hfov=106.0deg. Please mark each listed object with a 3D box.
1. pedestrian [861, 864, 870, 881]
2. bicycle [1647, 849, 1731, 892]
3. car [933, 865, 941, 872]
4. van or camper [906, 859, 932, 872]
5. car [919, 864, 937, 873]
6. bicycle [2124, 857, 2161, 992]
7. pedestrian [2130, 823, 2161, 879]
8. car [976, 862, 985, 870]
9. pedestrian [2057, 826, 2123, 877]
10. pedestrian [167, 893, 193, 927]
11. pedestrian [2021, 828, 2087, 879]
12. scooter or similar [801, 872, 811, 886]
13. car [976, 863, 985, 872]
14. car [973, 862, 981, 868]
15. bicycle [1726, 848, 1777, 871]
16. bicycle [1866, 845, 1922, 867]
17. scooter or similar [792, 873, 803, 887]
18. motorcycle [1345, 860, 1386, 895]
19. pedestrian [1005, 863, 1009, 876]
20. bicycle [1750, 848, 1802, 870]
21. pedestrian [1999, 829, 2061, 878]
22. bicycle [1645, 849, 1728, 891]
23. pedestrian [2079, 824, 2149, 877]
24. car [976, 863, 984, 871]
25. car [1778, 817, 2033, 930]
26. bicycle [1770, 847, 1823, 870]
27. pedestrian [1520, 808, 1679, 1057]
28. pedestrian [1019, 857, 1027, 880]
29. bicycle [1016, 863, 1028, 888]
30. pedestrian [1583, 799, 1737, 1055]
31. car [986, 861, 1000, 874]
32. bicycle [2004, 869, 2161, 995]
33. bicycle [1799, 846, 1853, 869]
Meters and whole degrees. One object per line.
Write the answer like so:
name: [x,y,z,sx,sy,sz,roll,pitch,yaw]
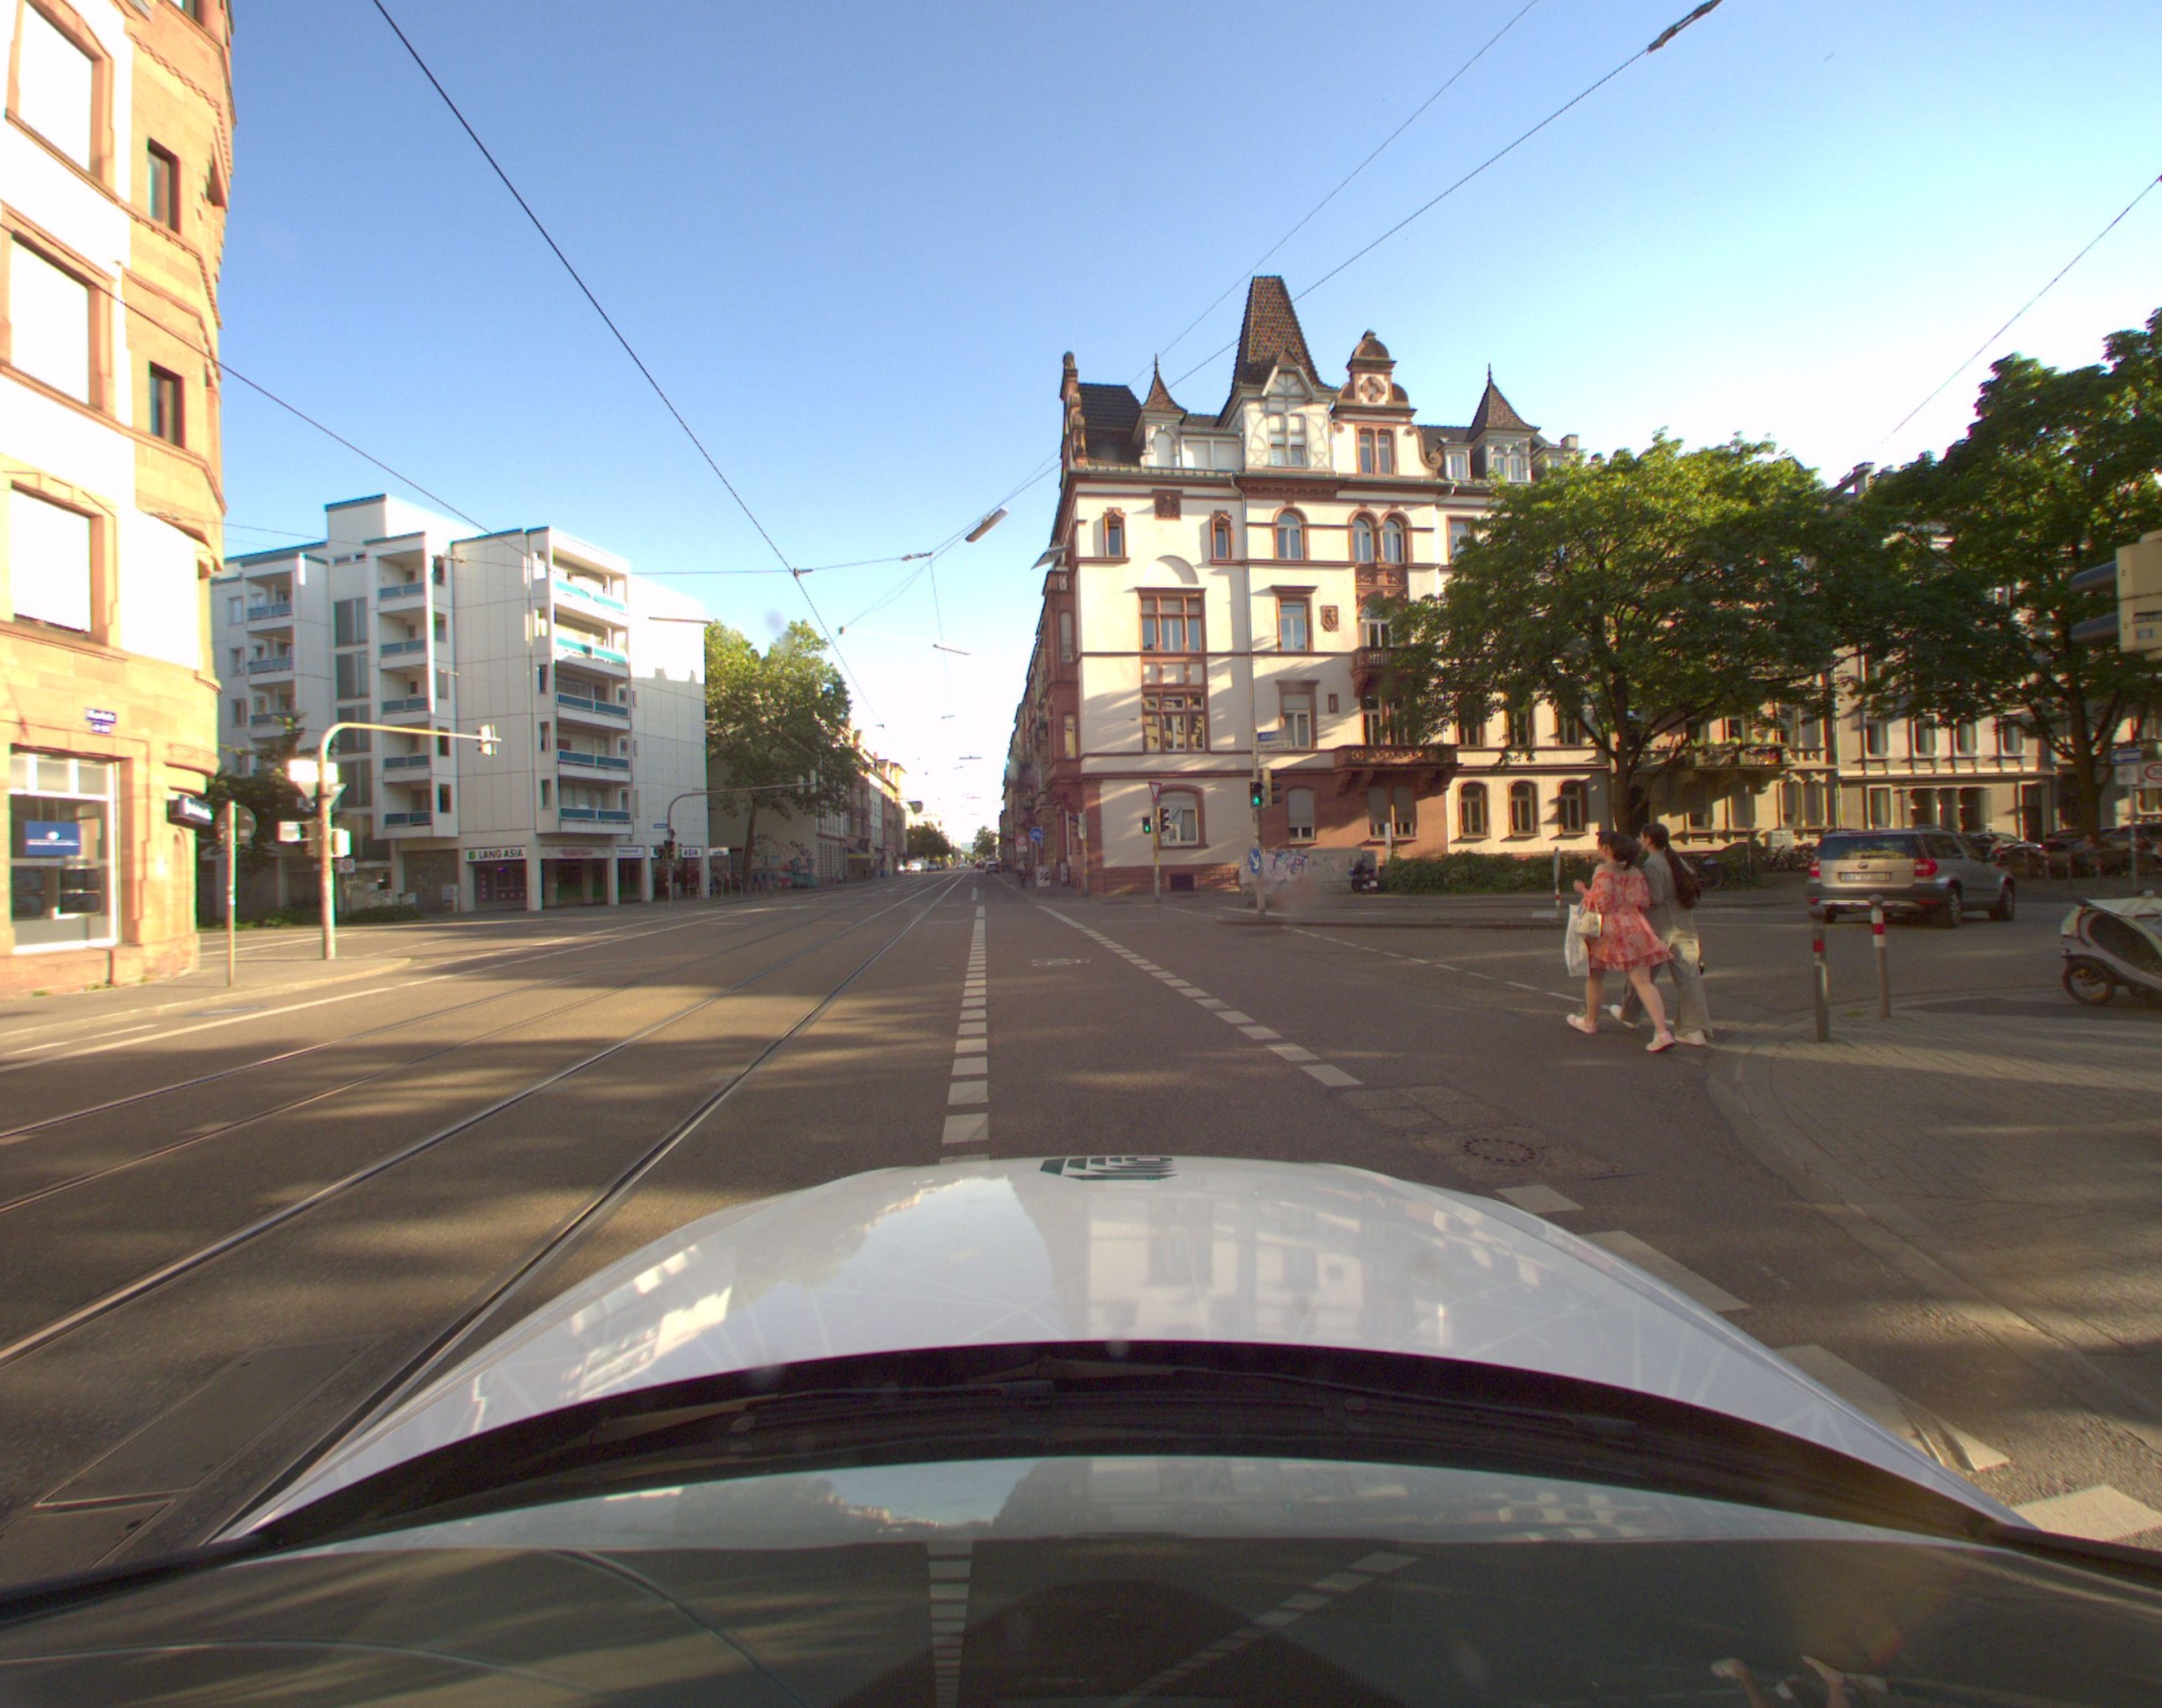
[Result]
pedestrian: [-22.263,1.876,84.089,0.700,1.728,0.646,-2,-1,-8]
bicycle: [17.207,0.473,23.095,1.841,1.161,0.563,-2,1,30]
car: [-39.726,3.960,224.314,1.992,2.014,3.989,-2,-1,-8]
van or camper: [-32.337,2.302,162.840,4.672,2.563,1.977,-1,-1,-38]
car: [-37.095,3.417,197.481,4.014,2.014,1.980,-2,-1,-32]
bicycle: [10.163,0.614,6.719,0.503,1.223,1.918,-2,-2,-3]
pedestrian: [28.869,-0.100,21.618,0.904,1.428,0.770,-6,-2,25]
car: [-24.436,2.959,198.308,1.992,1.728,3.989,-1,-1,-8]
pedestrian: [30.478,-0.068,24.619,0.904,1.428,0.770,-6,-2,25]
pedestrian: [-47.316,2.942,42.764,0.641,1.696,0.665,-2,-1,15]
pedestrian: [28.947,-0.021,24.250,0.904,1.428,0.770,-6,-2,26]
scooter or similar: [-21.819,2.004,64.628,0.516,1.057,1.473,-2,-1,-9]
car: [-21.394,2.906,173.408,1.992,1.728,3.989,-1,-1,-8]
car: [-30.522,3.204,238.914,1.992,1.728,3.989,-1,-1,-8]
bicycle: [27.675,0.231,33.627,0.491,0.893,1.794,-2,-1,-5]
bicycle: [34.516,0.107,34.606,0.491,0.893,1.794,-2,-1,-5]
scooter or similar: [-22.442,2.025,64.508,0.516,1.045,1.473,-2,-1,-9]
motorcycle: [9.692,0.789,27.807,0.716,1.020,2.290,-2,2,4]
pedestrian: [-9.893,2.051,108.681,0.544,1.780,0.748,-2,-1,-7]
bicycle: [28.704,0.203,33.681,0.491,0.893,1.794,-2,-1,-5]
pedestrian: [29.353,-0.015,25.212,0.904,1.428,0.770,-6,-2,25]
bicycle: [17.520,0.474,23.613,1.841,1.161,0.563,-2,1,30]
pedestrian: [29.908,-0.106,23.602,0.904,1.428,0.770,-6,-2,26]
car: [-25.447,3.280,204.408,1.992,1.728,3.989,-1,-1,-8]
car: [14.435,0.260,14.257,4.009,1.618,1.983,-3,1,-27]
bicycle: [29.586,0.180,33.720,0.491,0.893,1.794,-2,-1,-5]
pedestrian: [4.082,0.570,6.428,0.810,1.800,0.755,1,-1,-28]
pedestrian: [-4.461,1.116,62.545,0.544,1.780,0.503,-2,-1,-7]
bicycle: [-3.363,1.205,46.342,0.652,1.323,2.173,-2,-1,-5]
pedestrian: [4.651,0.554,6.554,0.696,1.909,0.663,-1,-4,-36]
car: [-12.421,1.913,115.055,1.948,1.684,3.991,-2,-1,-6]
bicycle: [9.384,0.669,7.382,0.774,1.045,1.063,-2,-2,2]
bicycle: [31.070,0.144,34.005,0.491,0.893,1.794,-2,-1,-5]
